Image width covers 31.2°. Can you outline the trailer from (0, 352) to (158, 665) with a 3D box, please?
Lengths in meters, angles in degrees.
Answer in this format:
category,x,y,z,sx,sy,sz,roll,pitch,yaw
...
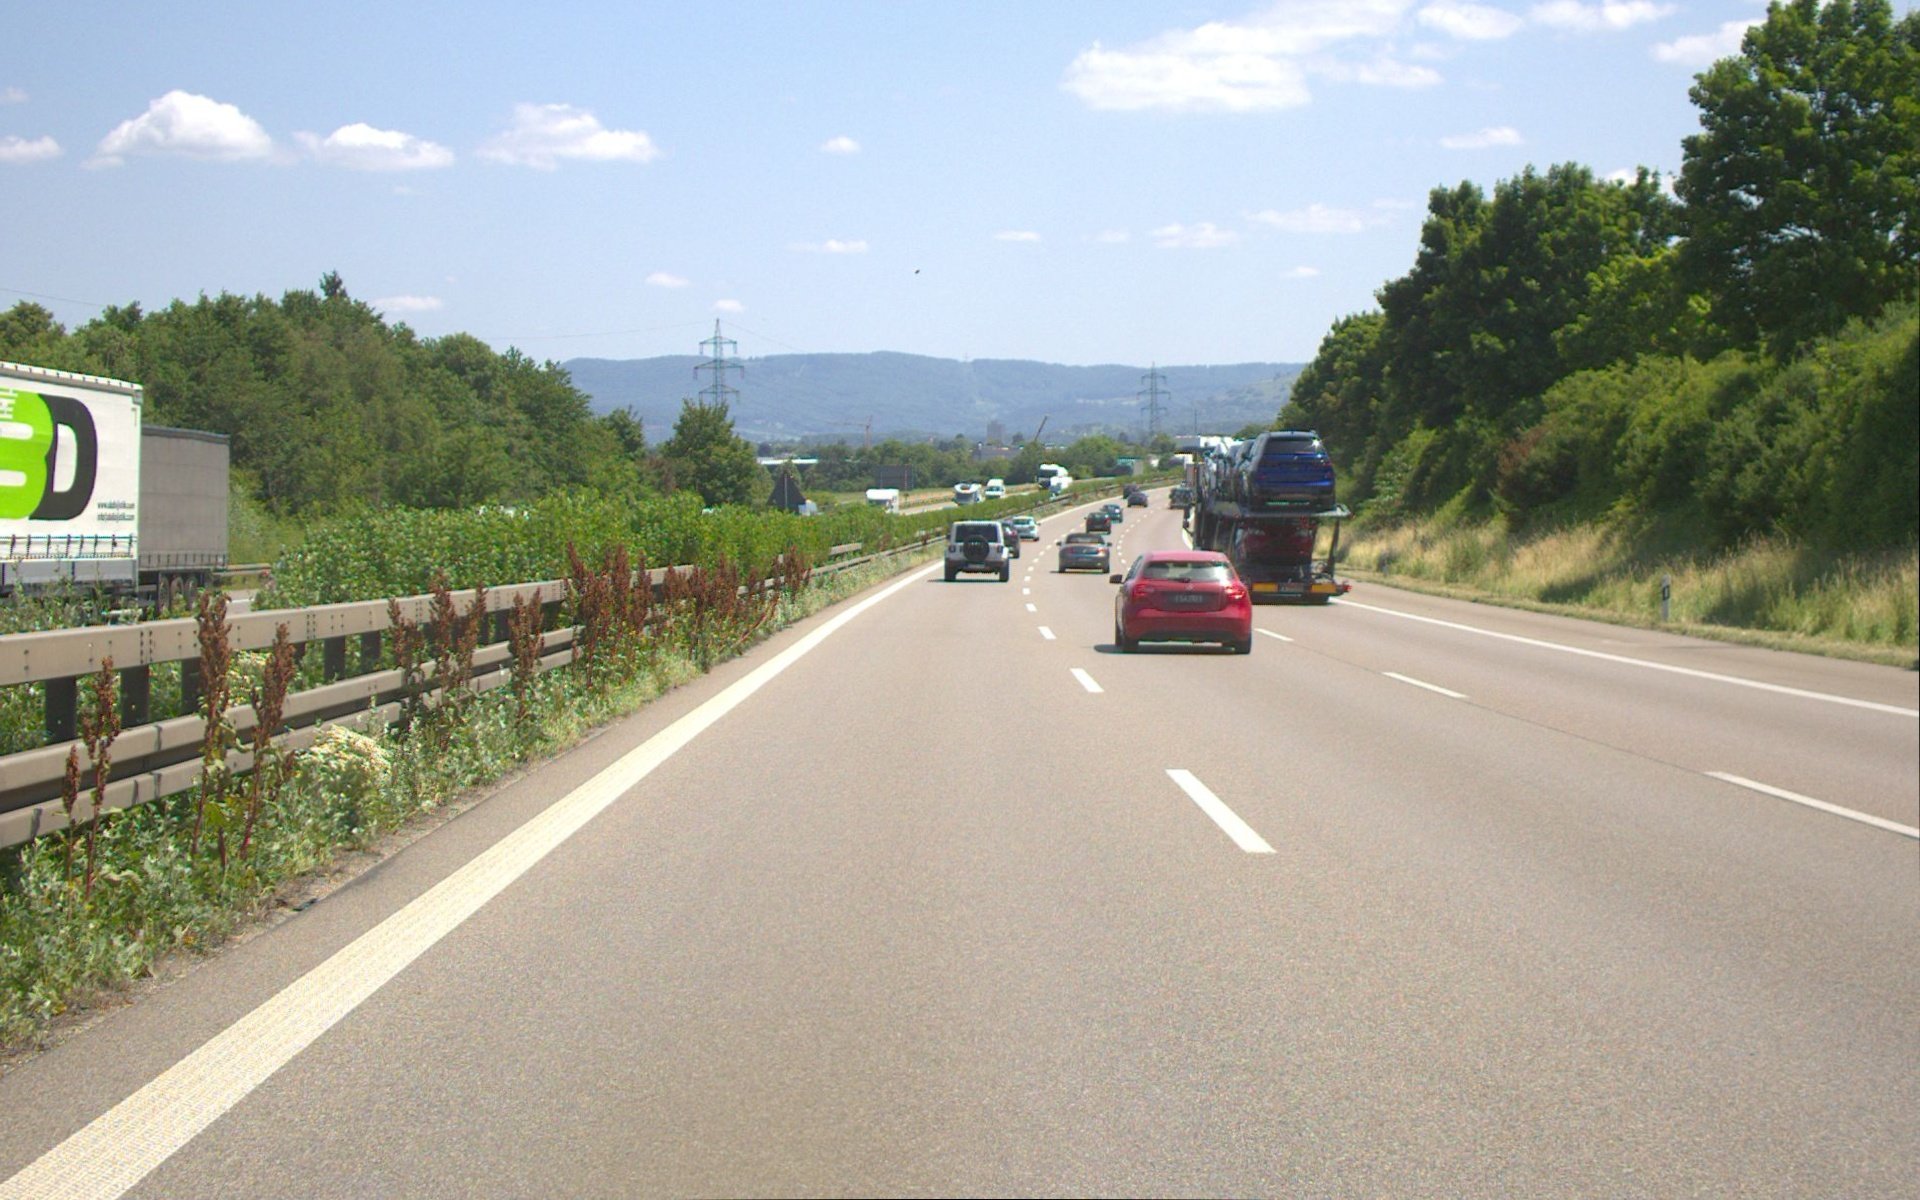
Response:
category,x,y,z,sx,sy,sz,roll,pitch,yaw
trailer,-14.073,-1.238,45.944,3.193,4.062,14.043,1,2,1

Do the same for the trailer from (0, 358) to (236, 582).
category,x,y,z,sx,sy,sz,roll,pitch,yaw
trailer,-17.704,-2.564,69.441,2.968,4.062,14.043,1,2,1

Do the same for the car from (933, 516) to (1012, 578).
category,x,y,z,sx,sy,sz,roll,pitch,yaw
car,0.360,-1.657,105.741,2.083,1.823,4.754,1,2,-4

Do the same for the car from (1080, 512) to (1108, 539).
category,x,y,z,sx,sy,sz,roll,pitch,yaw
car,8.747,-4.831,223.515,1.636,1.699,3.401,1,2,5

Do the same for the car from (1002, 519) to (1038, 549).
category,x,y,z,sx,sy,sz,roll,pitch,yaw
car,2.627,-2.916,150.807,1.455,1.263,3.337,1,2,3

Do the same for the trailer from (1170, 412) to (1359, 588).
category,x,y,z,sx,sy,sz,roll,pitch,yaw
trailer,7.400,-2.491,85.915,2.855,3.979,15.398,1,2,-2

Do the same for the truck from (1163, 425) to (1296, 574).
category,x,y,z,sx,sy,sz,roll,pitch,yaw
truck,7.220,-2.710,92.872,2.754,3.839,6.645,1,2,-2

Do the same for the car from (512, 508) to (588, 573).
category,x,y,z,sx,sy,sz,roll,pitch,yaw
car,-11.850,-1.747,99.526,1.629,1.821,3.769,1,2,1

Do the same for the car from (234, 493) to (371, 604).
category,x,y,z,sx,sy,sz,roll,pitch,yaw
car,-12.329,-0.994,64.696,1.839,2.007,4.000,1,2,-1

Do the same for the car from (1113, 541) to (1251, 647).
category,x,y,z,sx,sy,sz,roll,pitch,yaw
car,3.087,-0.112,48.385,1.686,1.374,3.949,1,2,0

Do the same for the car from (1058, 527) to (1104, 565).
category,x,y,z,sx,sy,sz,roll,pitch,yaw
car,4.257,-1.919,121.033,1.452,1.263,3.539,1,2,0

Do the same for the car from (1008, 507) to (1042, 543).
category,x,y,z,sx,sy,sz,roll,pitch,yaw
car,3.743,-4.327,198.286,1.698,2.007,3.822,1,2,5
